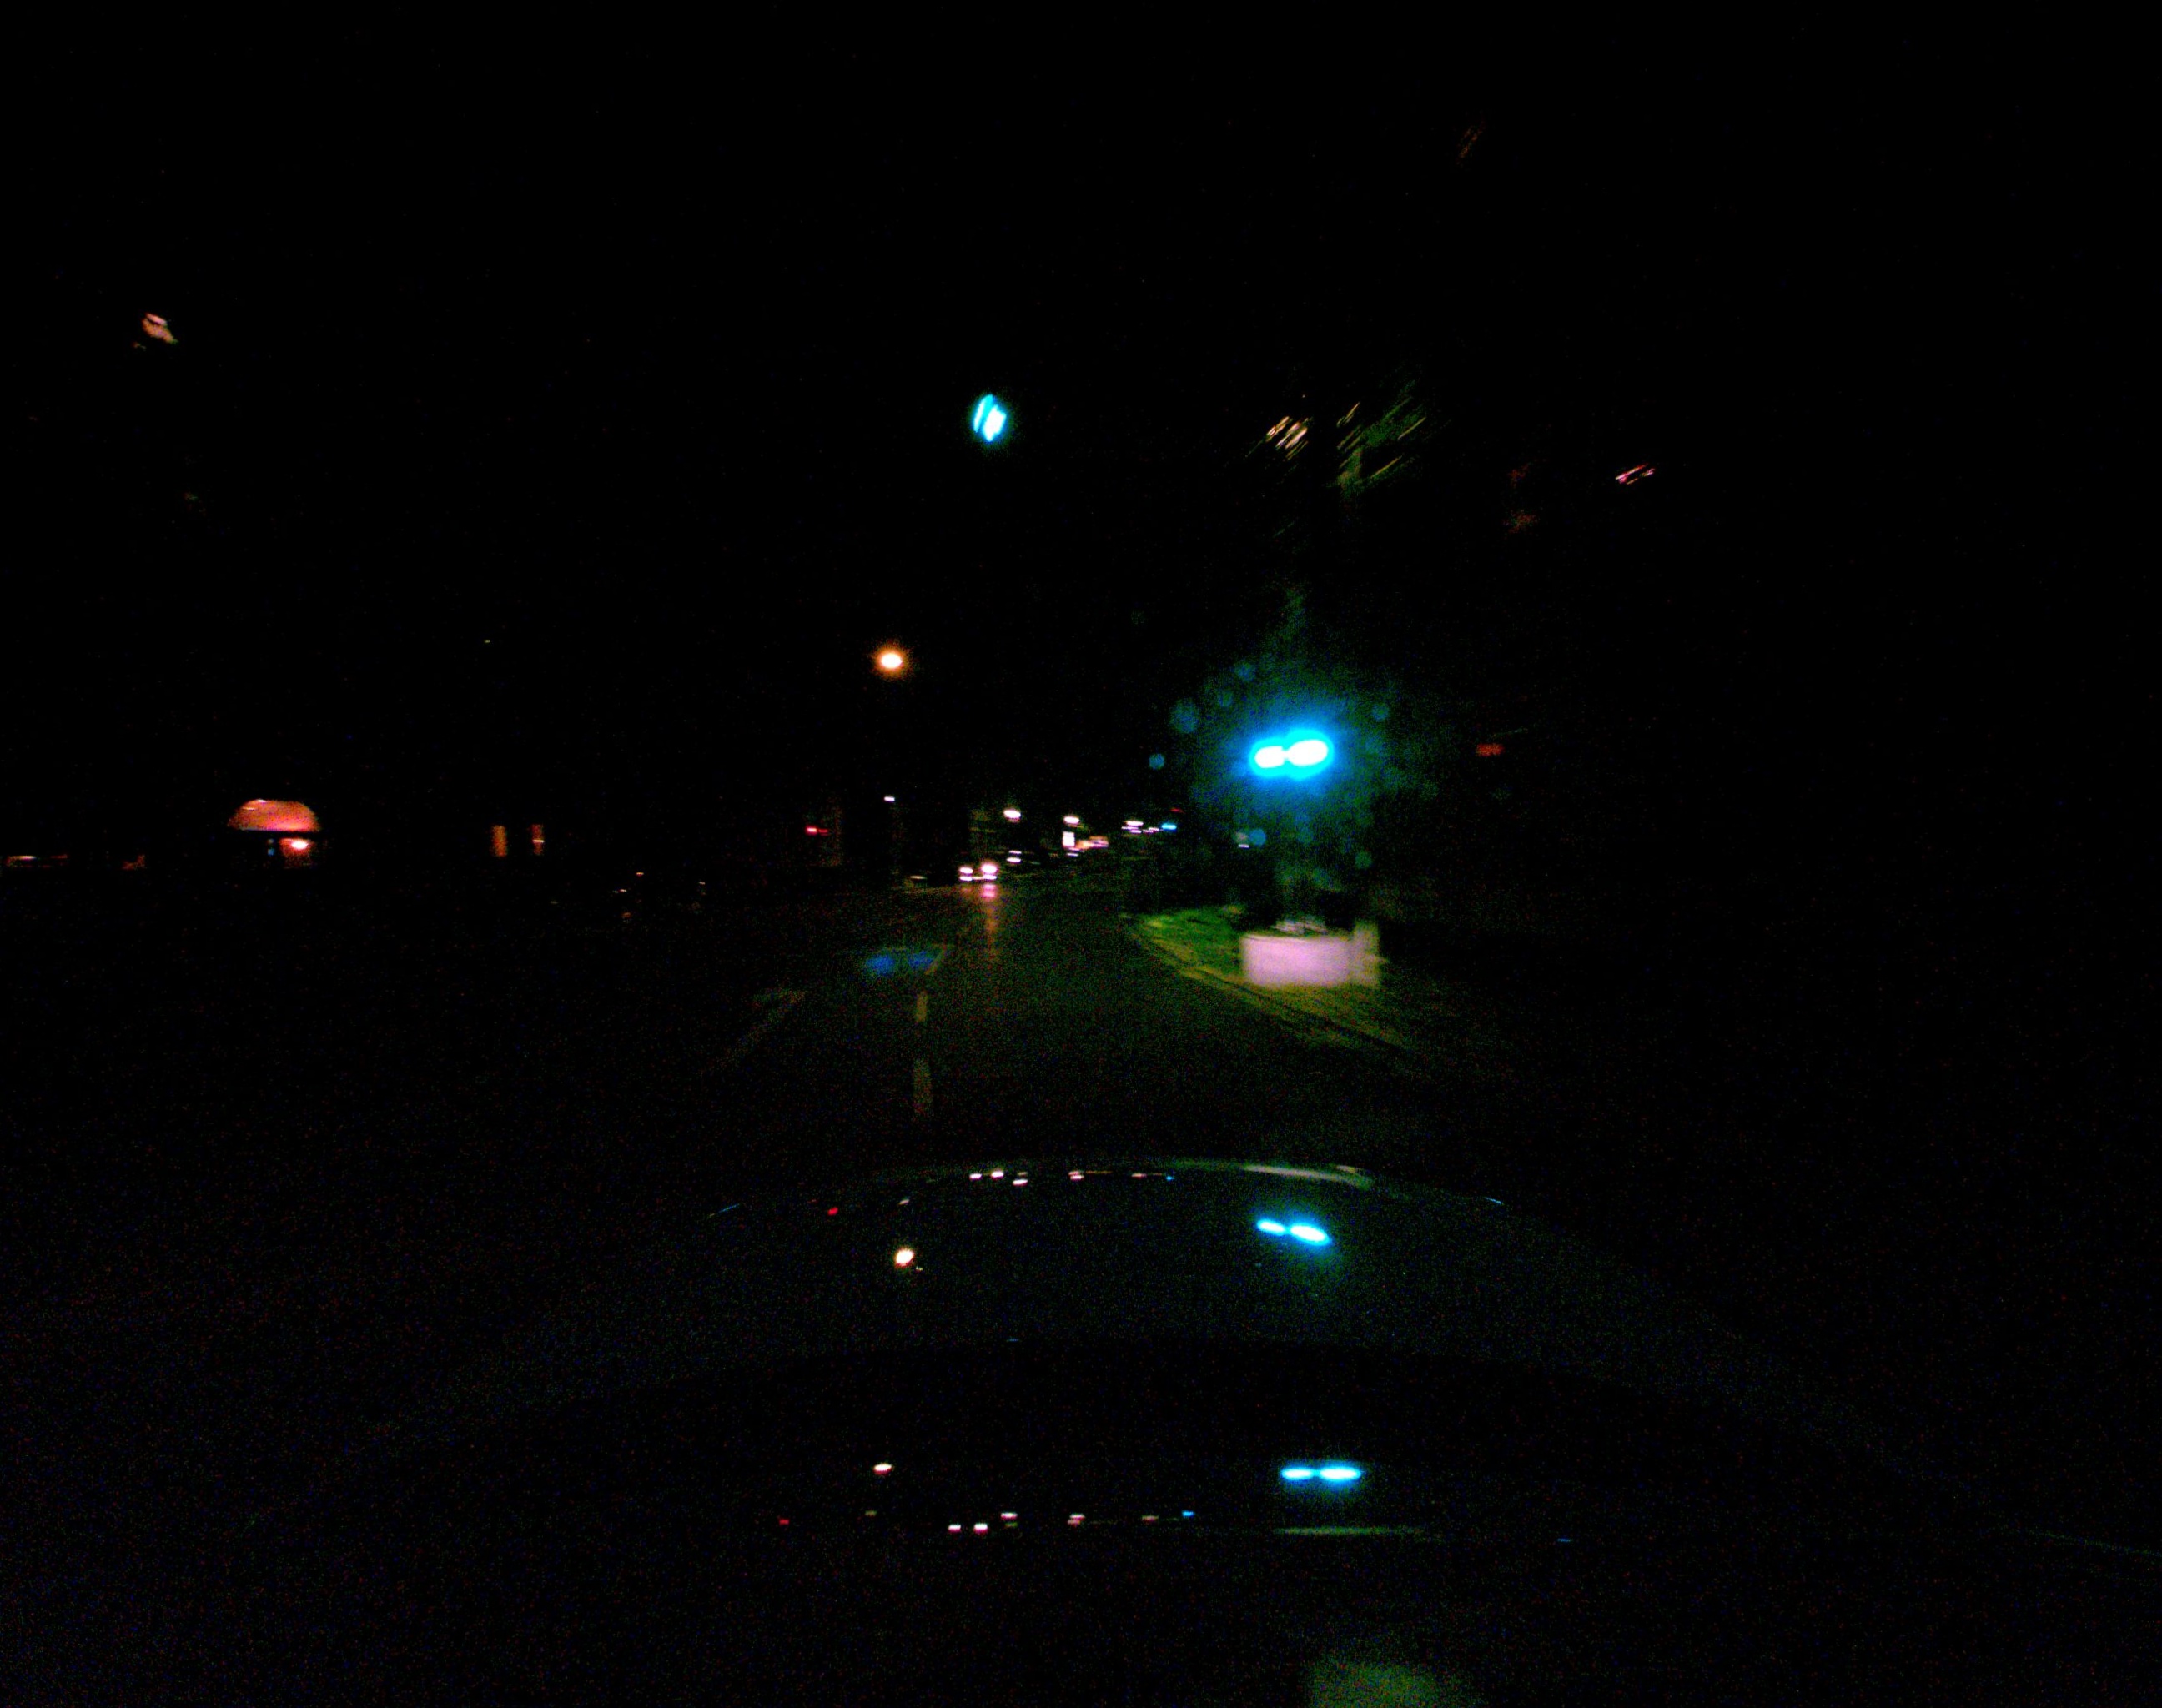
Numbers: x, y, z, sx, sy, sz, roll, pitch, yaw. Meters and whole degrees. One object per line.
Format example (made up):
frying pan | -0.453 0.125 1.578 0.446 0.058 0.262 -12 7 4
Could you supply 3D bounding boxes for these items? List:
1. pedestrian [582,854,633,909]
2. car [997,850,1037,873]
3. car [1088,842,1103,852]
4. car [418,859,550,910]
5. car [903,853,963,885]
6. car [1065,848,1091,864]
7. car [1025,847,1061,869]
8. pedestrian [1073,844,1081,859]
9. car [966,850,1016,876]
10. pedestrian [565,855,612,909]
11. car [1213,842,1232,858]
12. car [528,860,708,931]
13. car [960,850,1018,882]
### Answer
pedestrian | -15.210 0.880 26.188 0.703 1.690 1.130 -2 0 22
car | -4.425 0.503 56.851 1.773 1.491 4.012 1 1 10
car | 2.500 -1.170 139.299 1.983 1.574 4.338 -2 1 7
car | -23.535 1.190 32.179 3.962 1.775 1.906 -2 0 10
car | -7.673 0.739 42.445 1.580 1.491 3.715 1 1 16
car | -0.255 0.176 77.181 1.773 1.415 4.138 -1 1 10
car | -2.973 0.277 64.761 1.772 1.581 4.427 1 1 13
pedestrian | -0.502 -0.304 102.679 0.729 1.822 0.685 0 -1 -35
car | -5.632 0.542 51.600 1.772 1.491 4.345 1 1 13
pedestrian | -16.103 0.910 26.636 0.703 1.690 1.003 -2 0 22
car | 14.476 -0.442 83.323 1.724 1.459 4.738 -2 1 7
car | -12.097 1.015 21.610 1.873 1.596 4.038 0 1 13
car | -4.688 0.594 41.996 1.704 1.429 4.014 -4 0 12
